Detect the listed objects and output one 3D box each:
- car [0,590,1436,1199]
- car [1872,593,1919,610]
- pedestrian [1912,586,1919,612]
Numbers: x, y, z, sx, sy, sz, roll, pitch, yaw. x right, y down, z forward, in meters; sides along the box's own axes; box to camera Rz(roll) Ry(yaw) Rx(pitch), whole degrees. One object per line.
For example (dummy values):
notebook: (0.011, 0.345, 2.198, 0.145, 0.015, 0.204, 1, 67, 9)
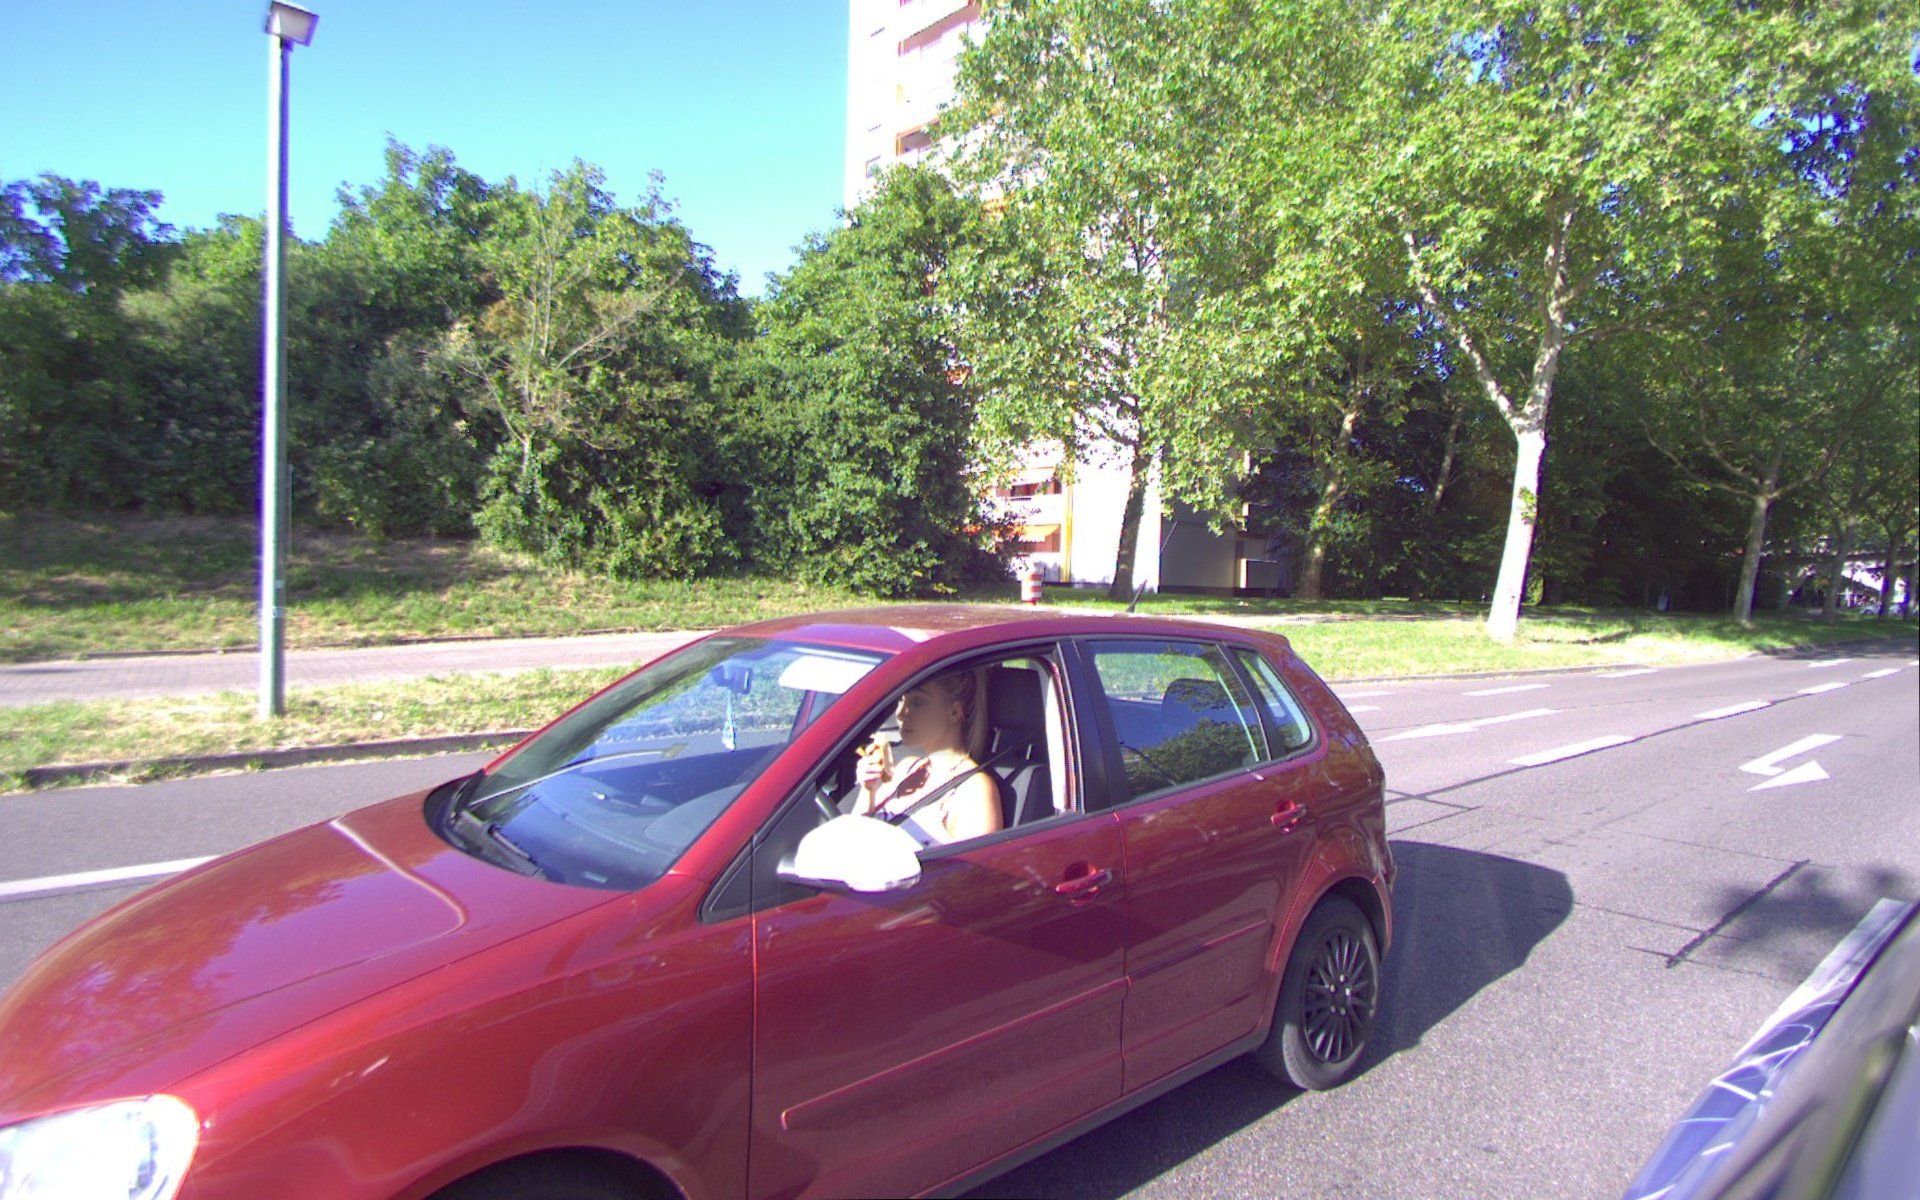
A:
car: (-0.340, 0.707, 2.857, 3.694, 1.456, 1.645, -1, 1, -40)
car: (83.158, 0.118, 89.208, 3.983, 1.493, 1.772, 0, 0, 42)
pedestrian: (75.425, -0.057, 79.210, 0.944, 2.039, 0.919, 0, 0, 1)
